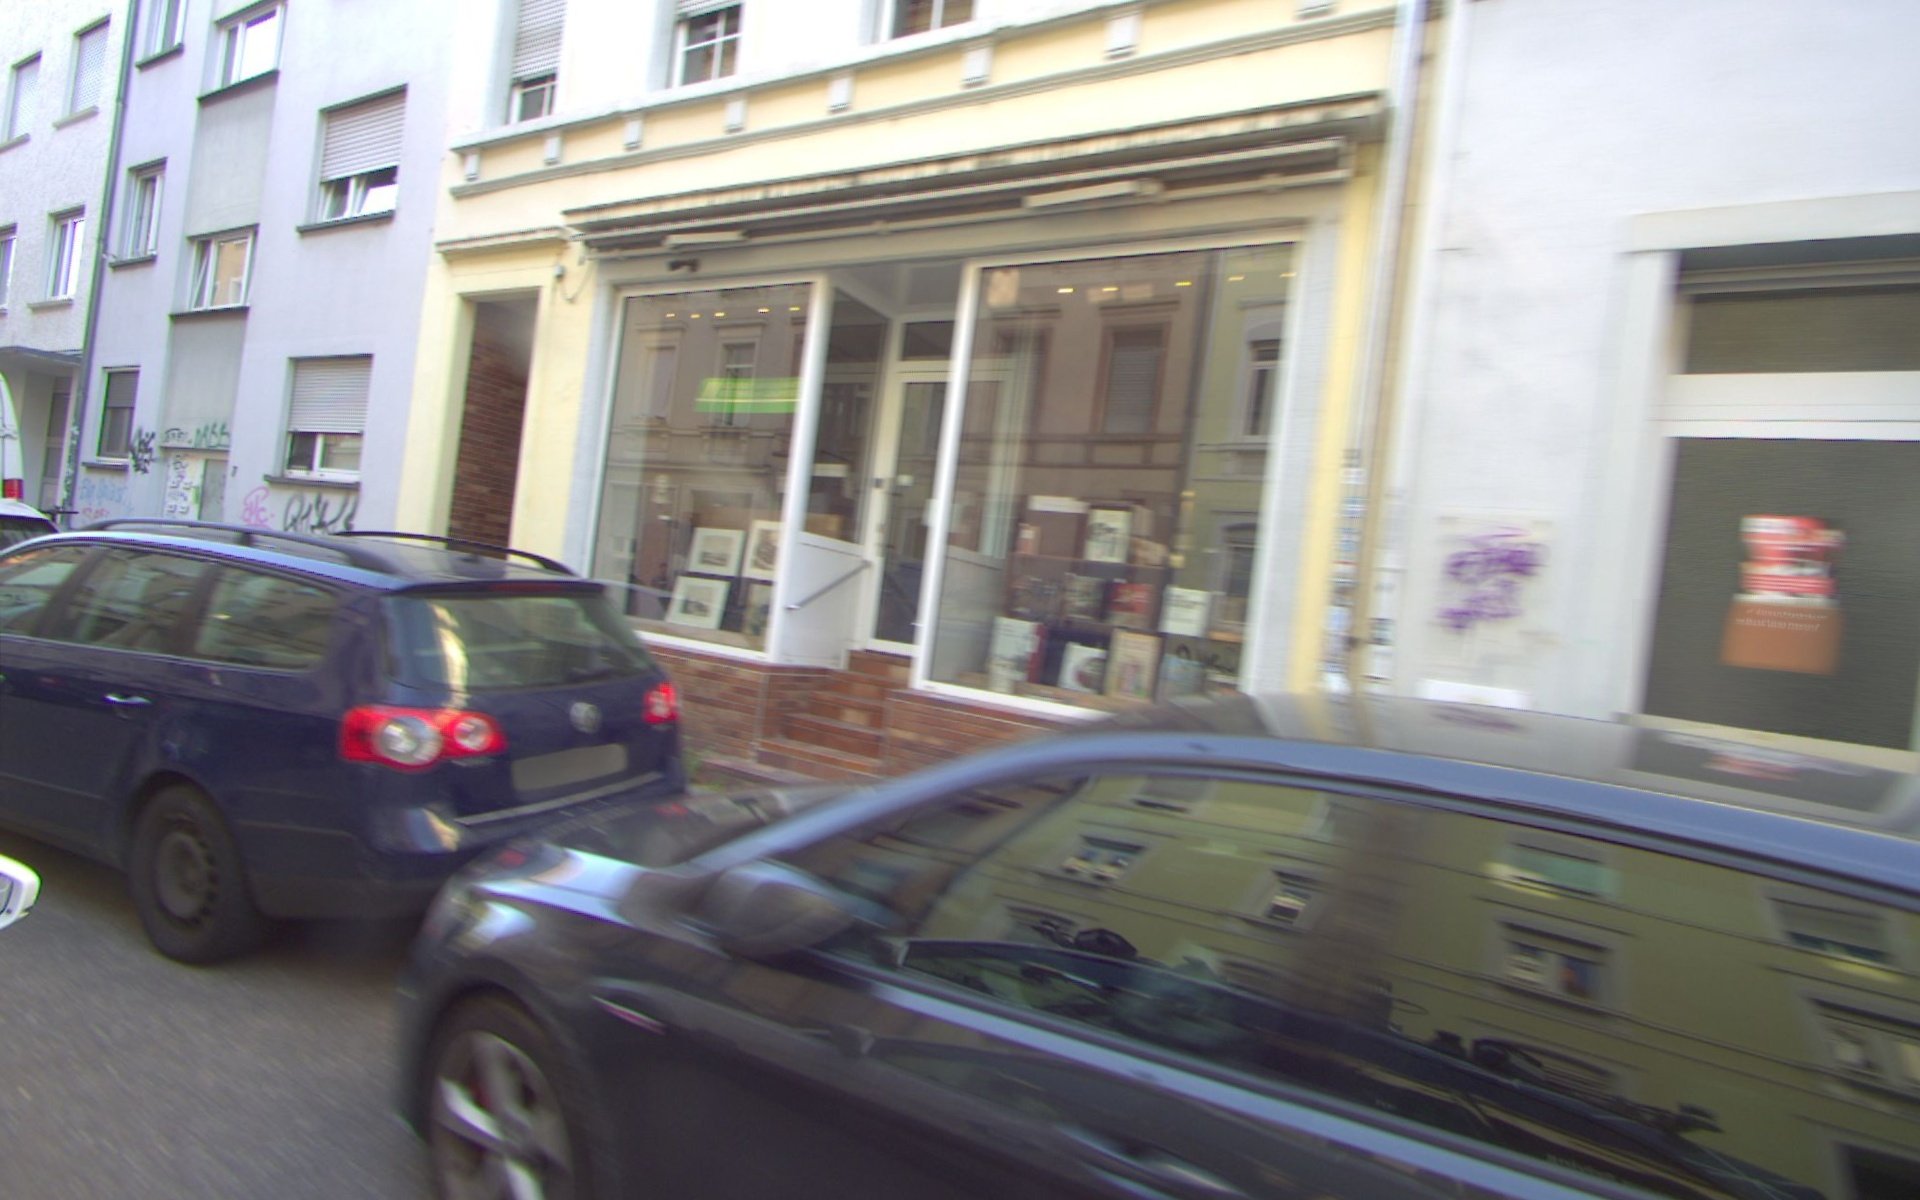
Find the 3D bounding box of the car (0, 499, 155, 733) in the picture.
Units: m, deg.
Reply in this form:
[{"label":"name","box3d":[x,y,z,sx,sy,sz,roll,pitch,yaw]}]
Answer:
[{"label":"car","box3d":[-7.646,-0.090,7.120,3.767,1.447,1.728,7,0,30]}]

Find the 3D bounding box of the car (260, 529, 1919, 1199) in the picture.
[{"label":"car","box3d":[0.650,0.864,2.017,4.172,1.503,1.749,7,0,32]}]

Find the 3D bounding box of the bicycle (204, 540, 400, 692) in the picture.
[{"label":"bicycle","box3d":[-6.357,0.114,9.661,2.313,1.174,0.627,7,3,32]}]

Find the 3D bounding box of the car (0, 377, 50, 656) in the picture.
[{"label":"car","box3d":[-11.862,-1.137,10.323,5.939,2.582,2.206,7,0,34]}]

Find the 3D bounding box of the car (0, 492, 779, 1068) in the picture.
[{"label":"car","box3d":[-3.334,0.417,4.711,4.524,1.498,1.815,8,3,22]}]
